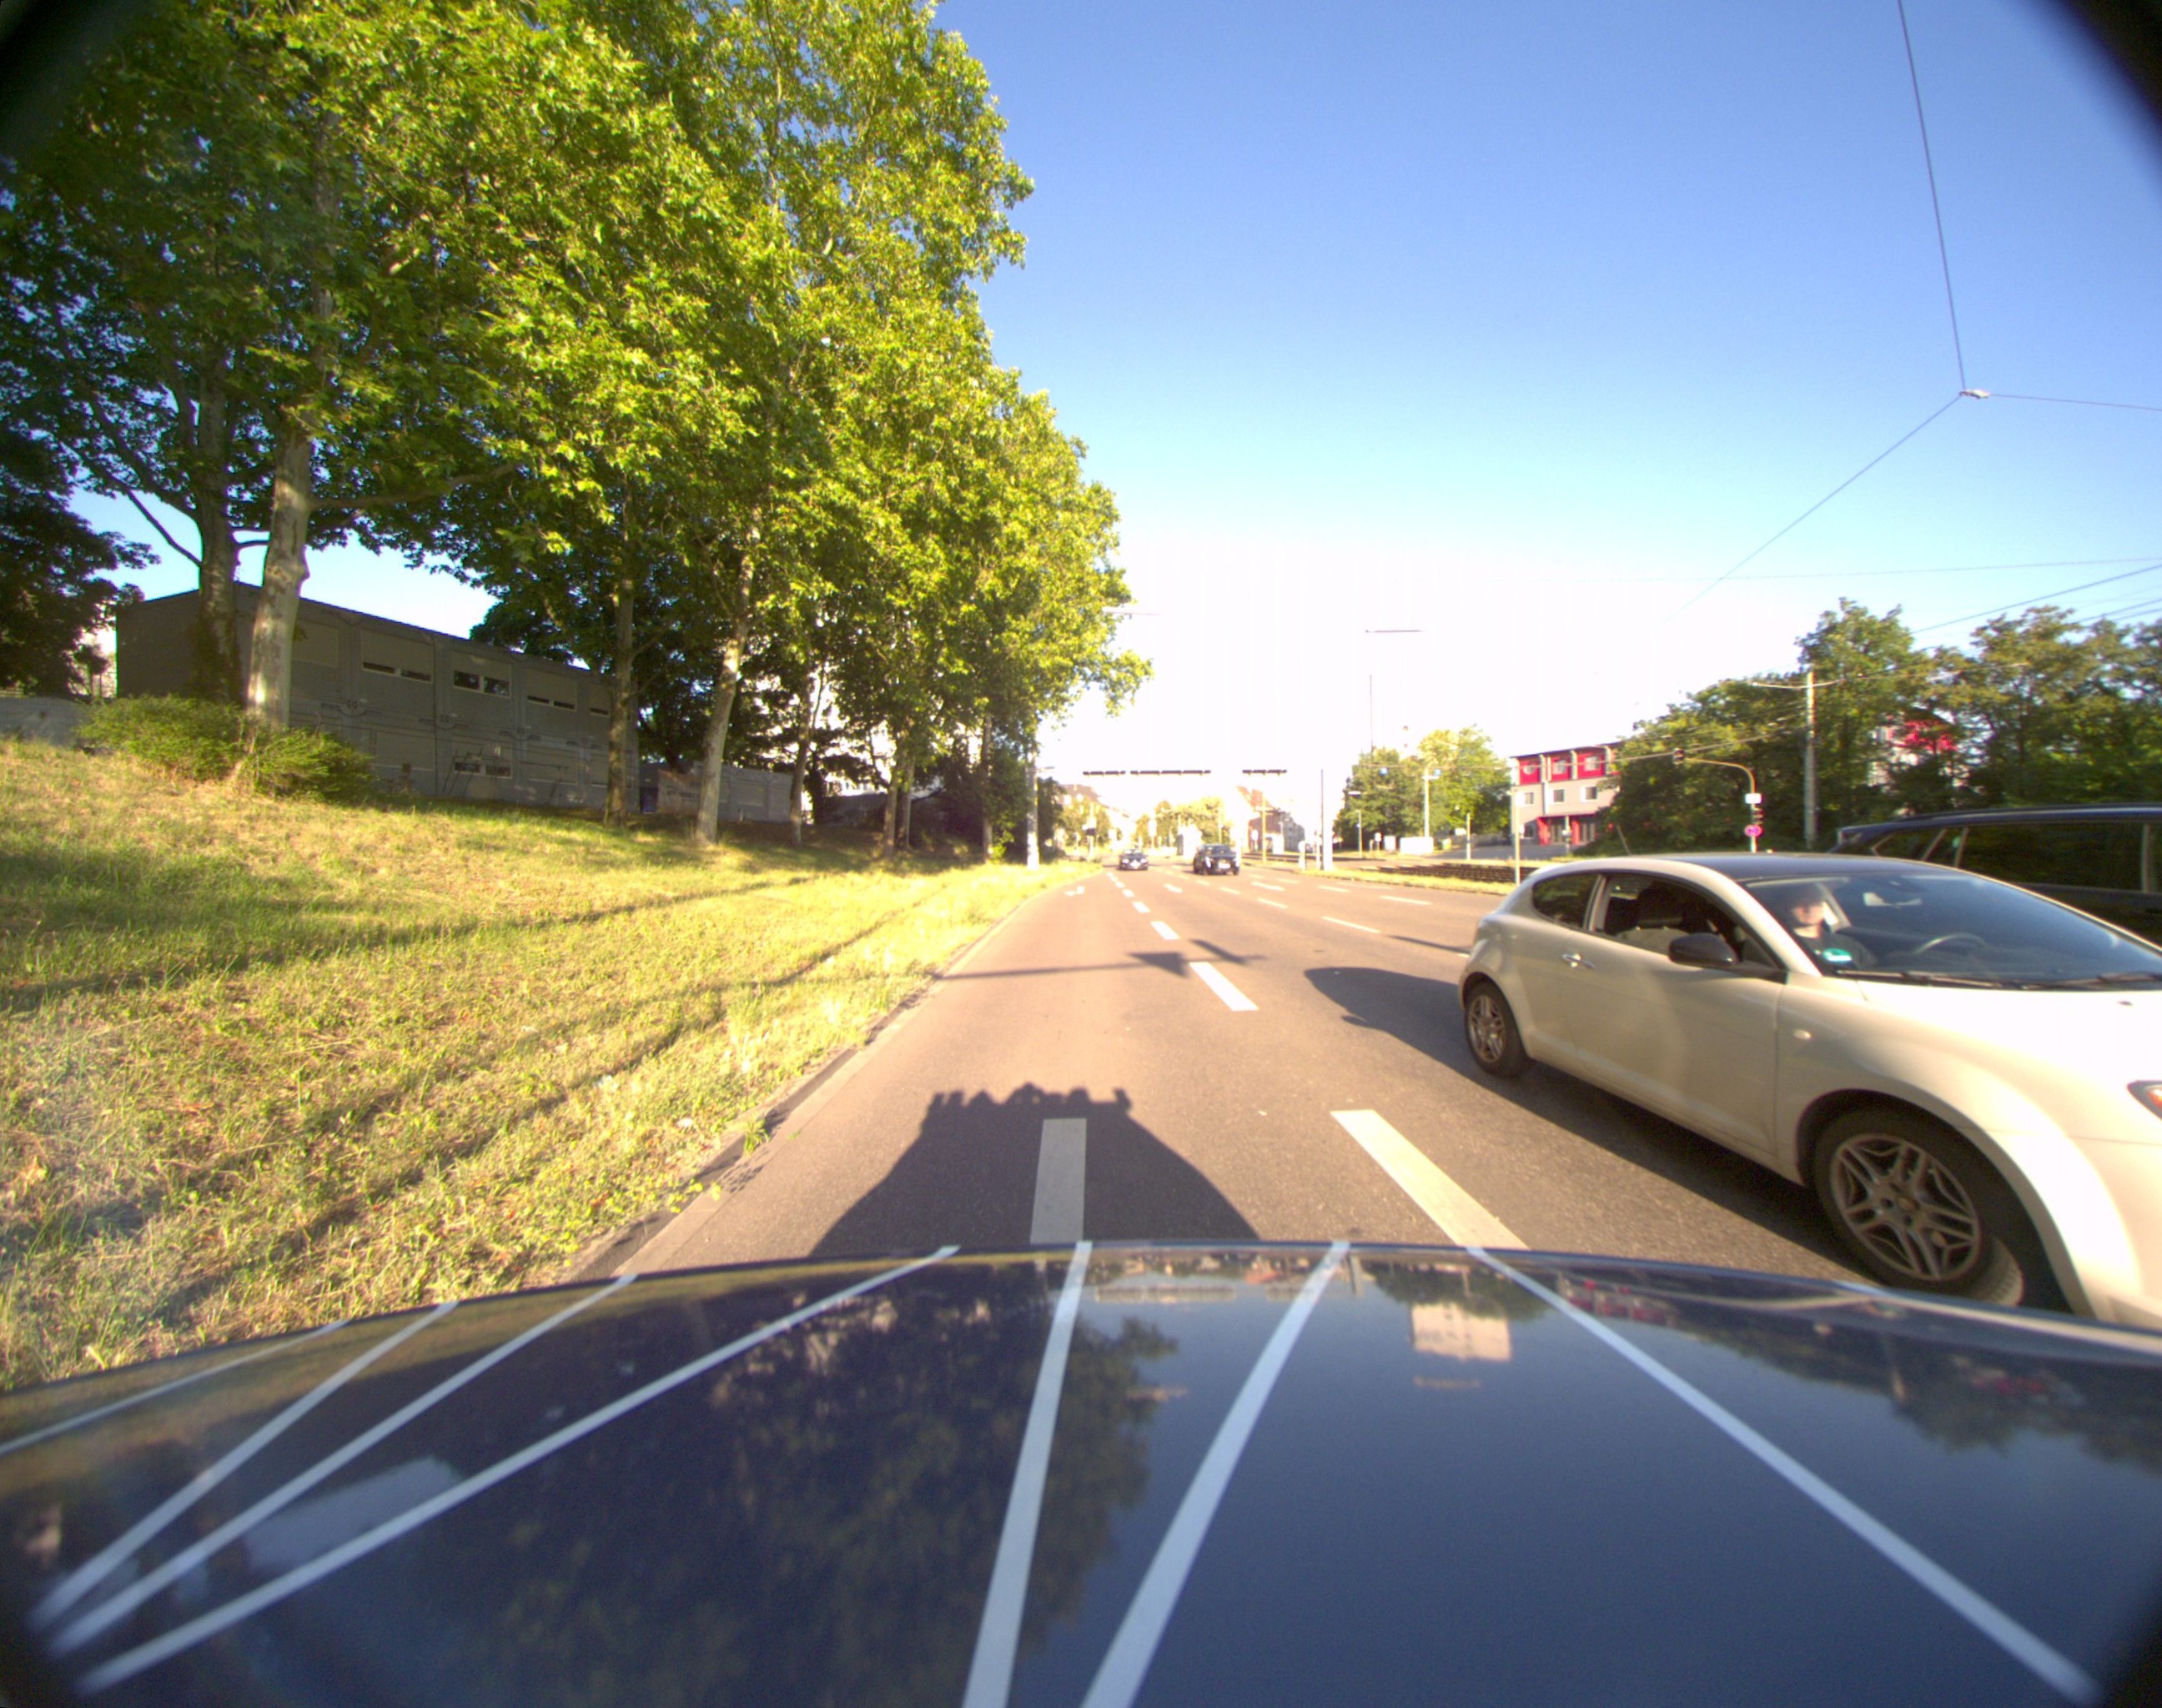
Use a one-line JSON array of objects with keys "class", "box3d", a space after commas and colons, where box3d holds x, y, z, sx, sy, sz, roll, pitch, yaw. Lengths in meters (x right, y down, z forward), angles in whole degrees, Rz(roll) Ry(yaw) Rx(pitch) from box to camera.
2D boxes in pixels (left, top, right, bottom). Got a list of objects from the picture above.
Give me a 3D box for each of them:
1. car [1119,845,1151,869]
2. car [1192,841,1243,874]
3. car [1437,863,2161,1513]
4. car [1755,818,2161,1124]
[{"class": "car", "box3d": [3.537, 0.180, 50.312, 1.741, 1.429, 3.999, -2, 1, -1]}, {"class": "car", "box3d": [7.205, 0.155, 40.394, 1.905, 1.652, 4.276, -1, 0, 0]}, {"class": "car", "box3d": [3.450, 0.827, 3.462, 1.741, 1.496, 3.999, -1, 0, -1]}, {"class": "car", "box3d": [6.778, 0.613, 4.172, 1.819, 1.670, 4.621, -2, 0, -5]}]
